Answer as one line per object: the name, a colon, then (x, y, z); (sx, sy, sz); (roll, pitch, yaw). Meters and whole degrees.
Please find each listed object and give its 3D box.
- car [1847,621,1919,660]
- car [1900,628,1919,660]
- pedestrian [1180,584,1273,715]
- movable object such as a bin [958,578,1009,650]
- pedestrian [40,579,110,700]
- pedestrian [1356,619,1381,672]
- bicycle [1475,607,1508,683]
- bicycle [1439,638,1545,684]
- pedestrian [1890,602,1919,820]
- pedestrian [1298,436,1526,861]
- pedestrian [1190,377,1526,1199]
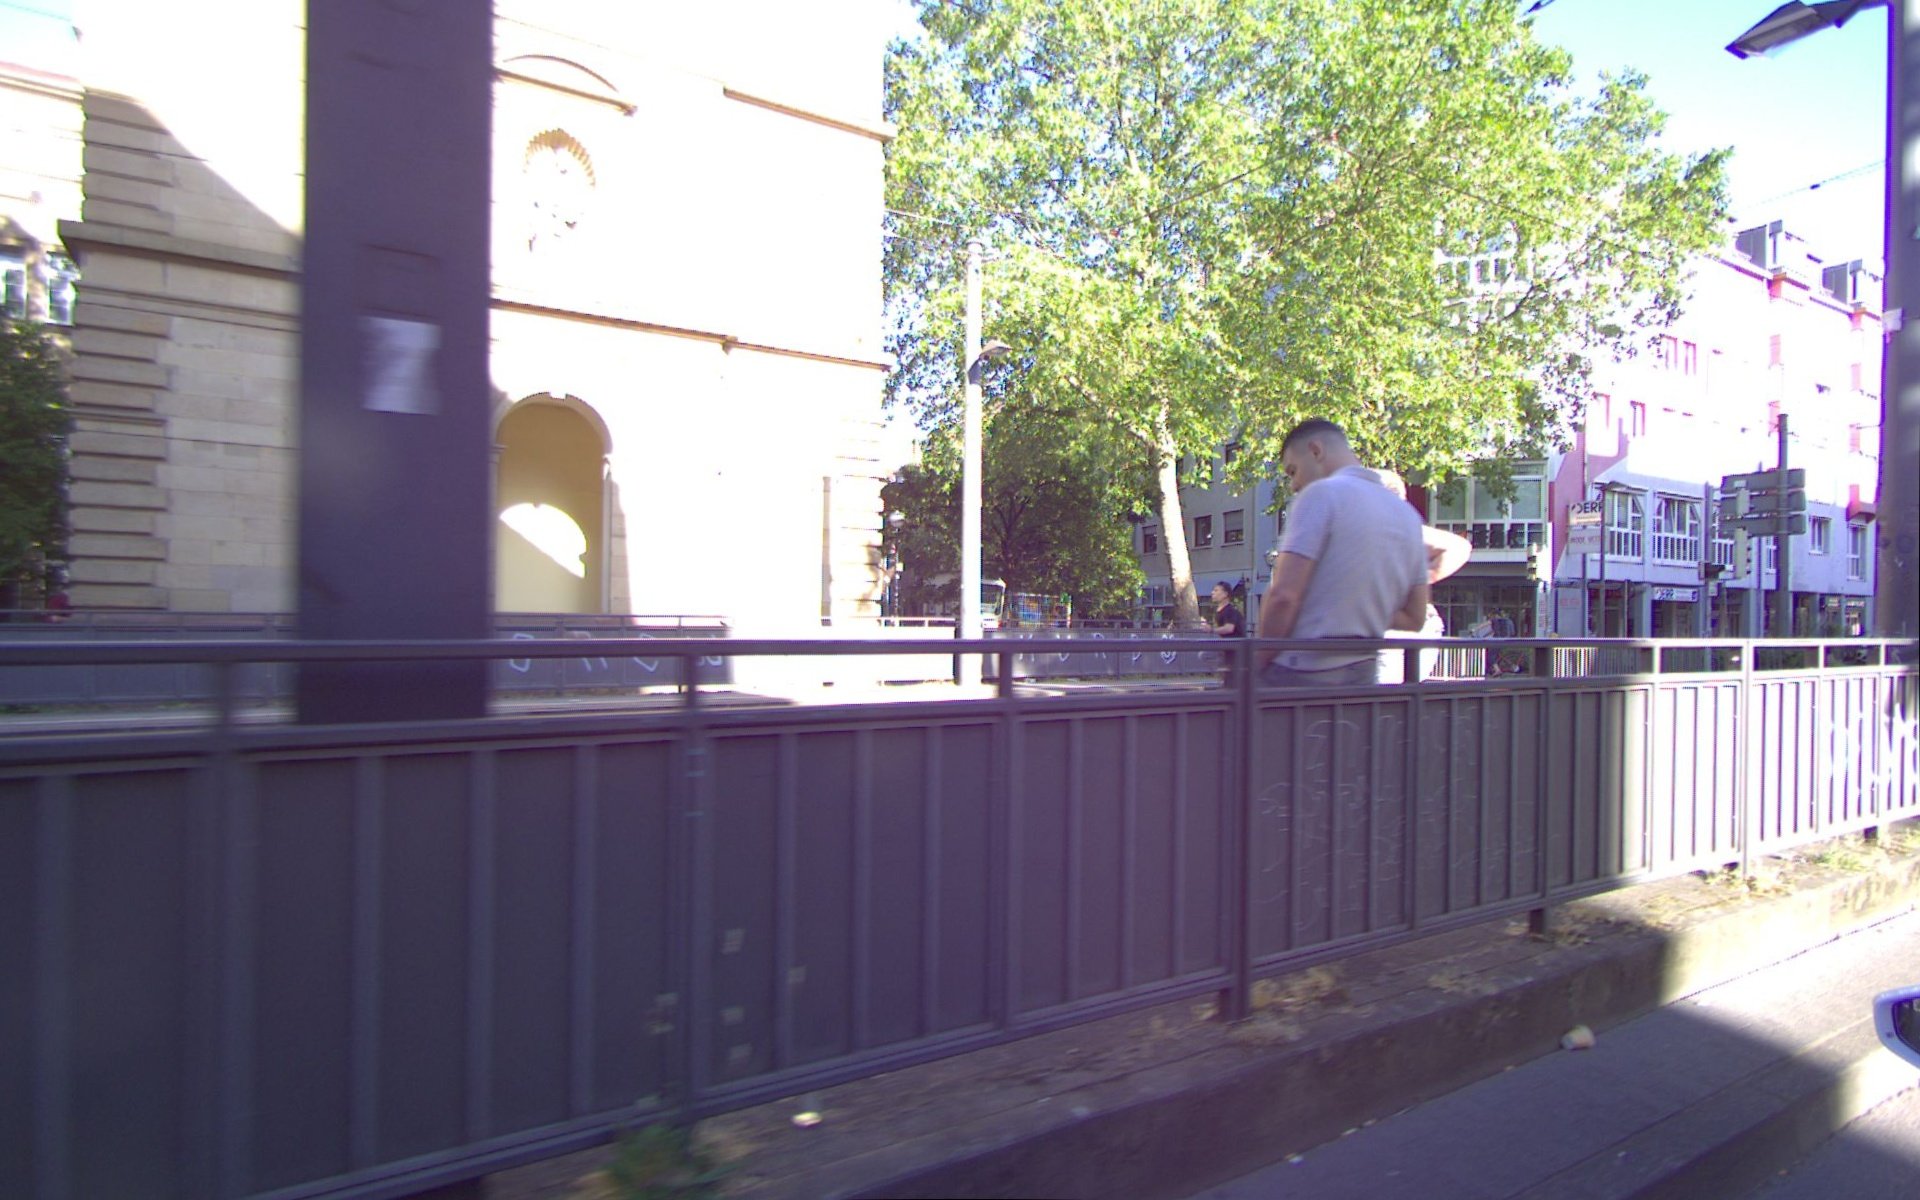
car: (41.486, 1.788, 44.770); (4.324, 1.635, 1.906); (1, -1, -34)
car: (47.169, 2.119, 48.156); (4.772, 1.477, 1.892); (1, -1, -32)
pedestrian: (3.603, 0.650, 13.580); (1.021, 1.690, 0.692); (1, 0, -30)
movable object such as a bin: (0.679, 0.430, 29.924); (1.153, 2.040, 2.647); (1, -1, -7)
pedestrian: (-13.099, 0.580, 14.881); (0.607, 1.735, 0.674); (3, -1, -32)
pedestrian: (12.999, 1.450, 31.982); (0.678, 1.658, 0.675); (0, -1, 27)
bicycle: (12.477, 1.042, 23.571); (0.574, 1.738, 0.645); (0, 0, 37)
bicycle: (12.502, 1.414, 23.632); (2.134, 0.979, 0.645); (0, -1, 36)
pedestrian: (6.130, 0.688, 6.186); (0.347, 1.347, 0.481); (0, -1, -1)
pedestrian: (2.063, 0.205, 4.633); (0.583, 1.757, 0.759); (1, 0, -30)
pedestrian: (1.163, 0.527, 2.937); (0.798, 2.148, 0.535); (1, -1, -31)
